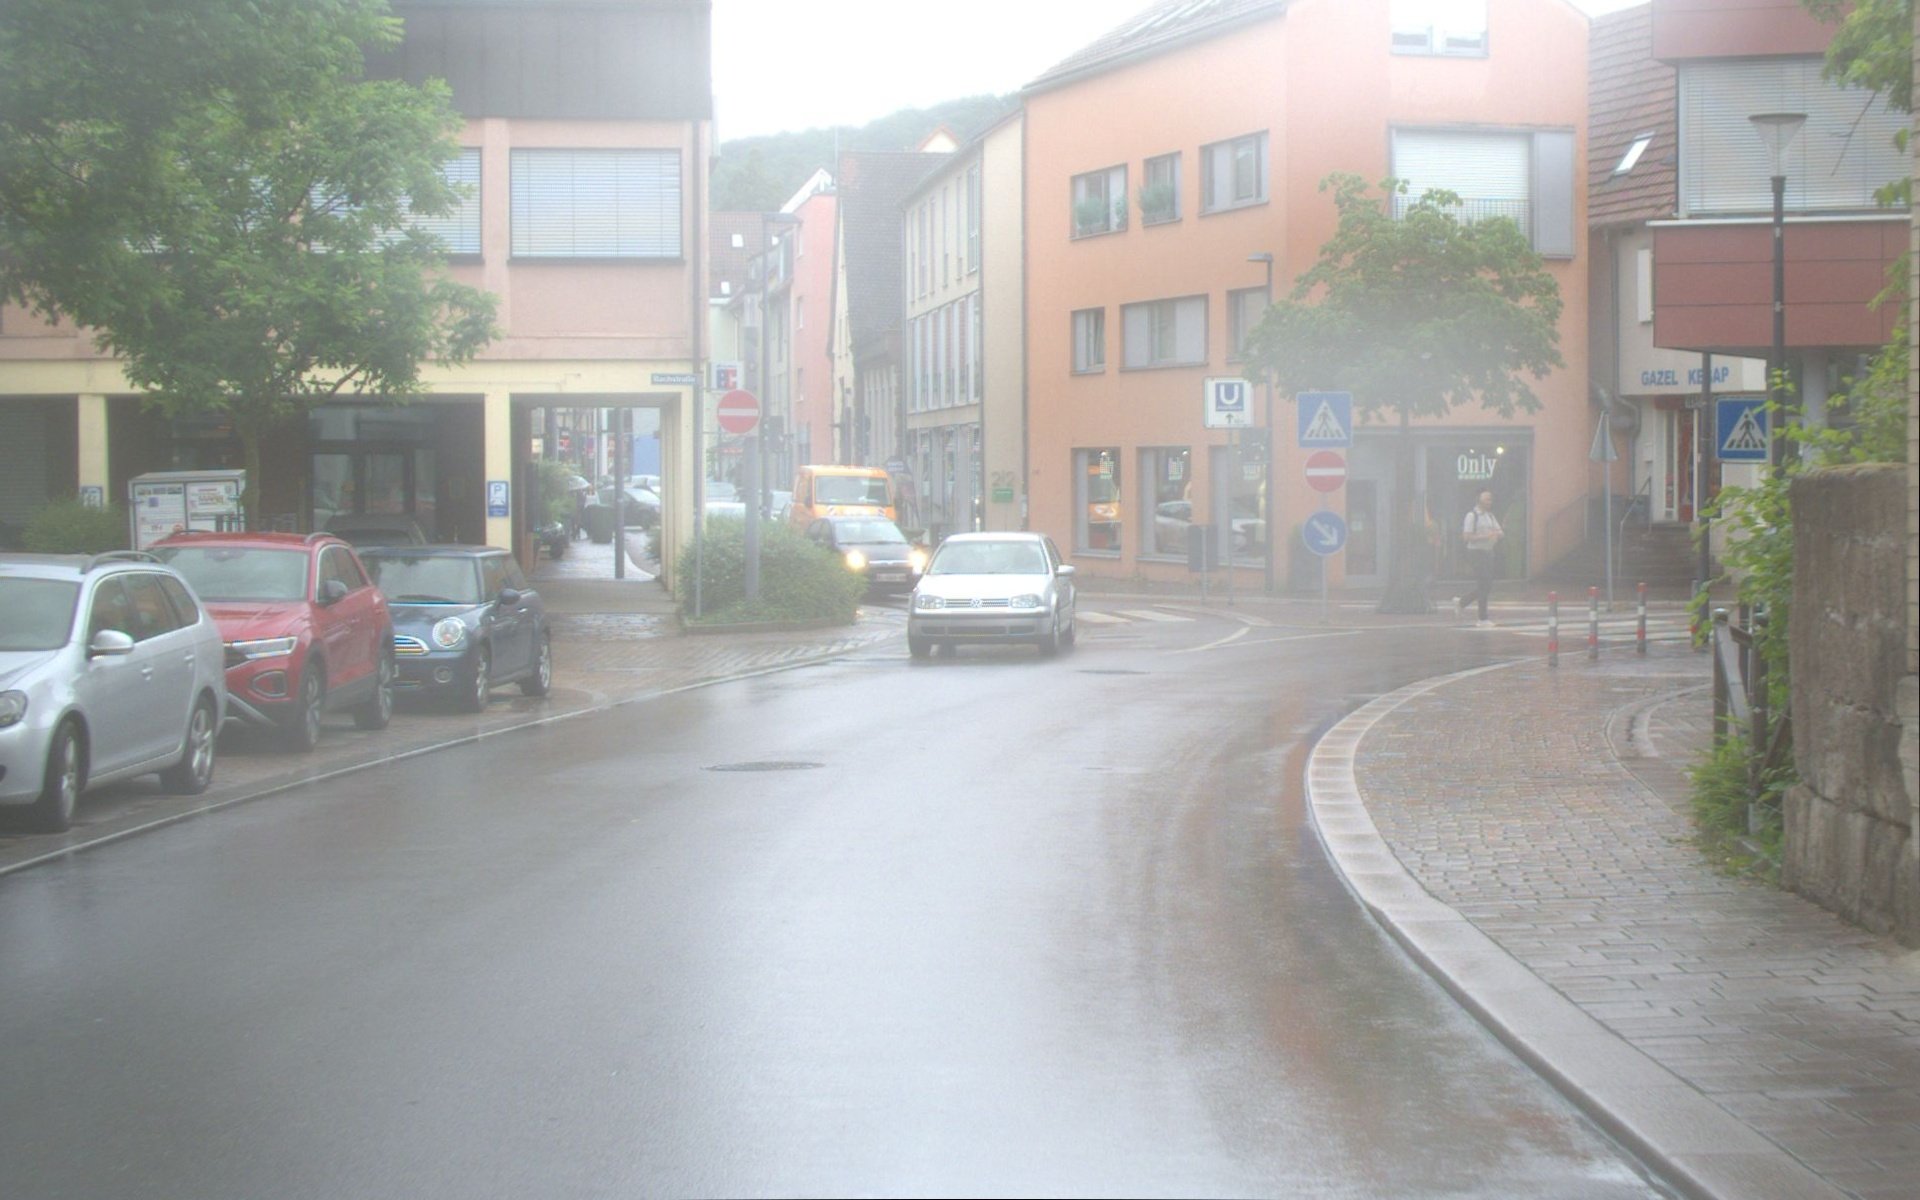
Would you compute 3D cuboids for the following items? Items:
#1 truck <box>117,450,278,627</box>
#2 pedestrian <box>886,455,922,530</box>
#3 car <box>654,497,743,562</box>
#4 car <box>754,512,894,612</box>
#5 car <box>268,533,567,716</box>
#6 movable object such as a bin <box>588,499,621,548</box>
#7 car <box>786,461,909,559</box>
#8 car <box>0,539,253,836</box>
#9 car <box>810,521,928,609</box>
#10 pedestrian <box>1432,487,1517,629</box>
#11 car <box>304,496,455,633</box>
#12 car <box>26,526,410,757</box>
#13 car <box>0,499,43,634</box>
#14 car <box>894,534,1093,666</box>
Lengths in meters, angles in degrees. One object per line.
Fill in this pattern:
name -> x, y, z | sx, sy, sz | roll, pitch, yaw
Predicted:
truck -> -10.149, -0.861, 45.945 | 1.596, 2.055, 3.194 | -2, 6, -5
pedestrian -> -1.497, -2.866, 91.781 | 0.866, 2.006, 0.708 | 0, 2, -10
car -> -6.041, -1.647, 79.187 | 1.993, 1.436, 4.165 | 0, 2, -5
car -> -2.165, -0.616, 53.803 | 1.714, 1.453, 3.911 | 1, 2, -9
car -> -4.762, 0.167, 30.661 | 1.715, 1.453, 3.910 | 1, 2, 5
movable object such as a bin -> -10.048, -2.174, 97.128 | 0.834, 1.377, 0.854 | -1, 2, -11
car -> -2.651, -2.079, 79.821 | 2.103, 2.139, 4.869 | -2, 2, -10
car -> -5.520, 0.417, 19.758 | 1.787, 1.493, 4.454 | -1, 1, 3
car -> -1.622, -0.641, 60.334 | 1.648, 1.440, 3.985 | -2, 2, -7
pedestrian -> 7.033, -0.583, 46.957 | 0.863, 1.908, 0.756 | 2, 2, 44
car -> -7.745, -0.511, 46.166 | 1.578, 1.474, 3.825 | 0, 6, -3
car -> -5.426, 0.241, 25.670 | 1.787, 1.571, 4.107 | -1, 1, 3
car -> -13.375, -0.374, 44.728 | 1.812, 1.612, 4.002 | 0, 6, 0
car -> 0.343, -0.043, 40.922 | 1.790, 1.412, 4.030 | -3, 1, -7
